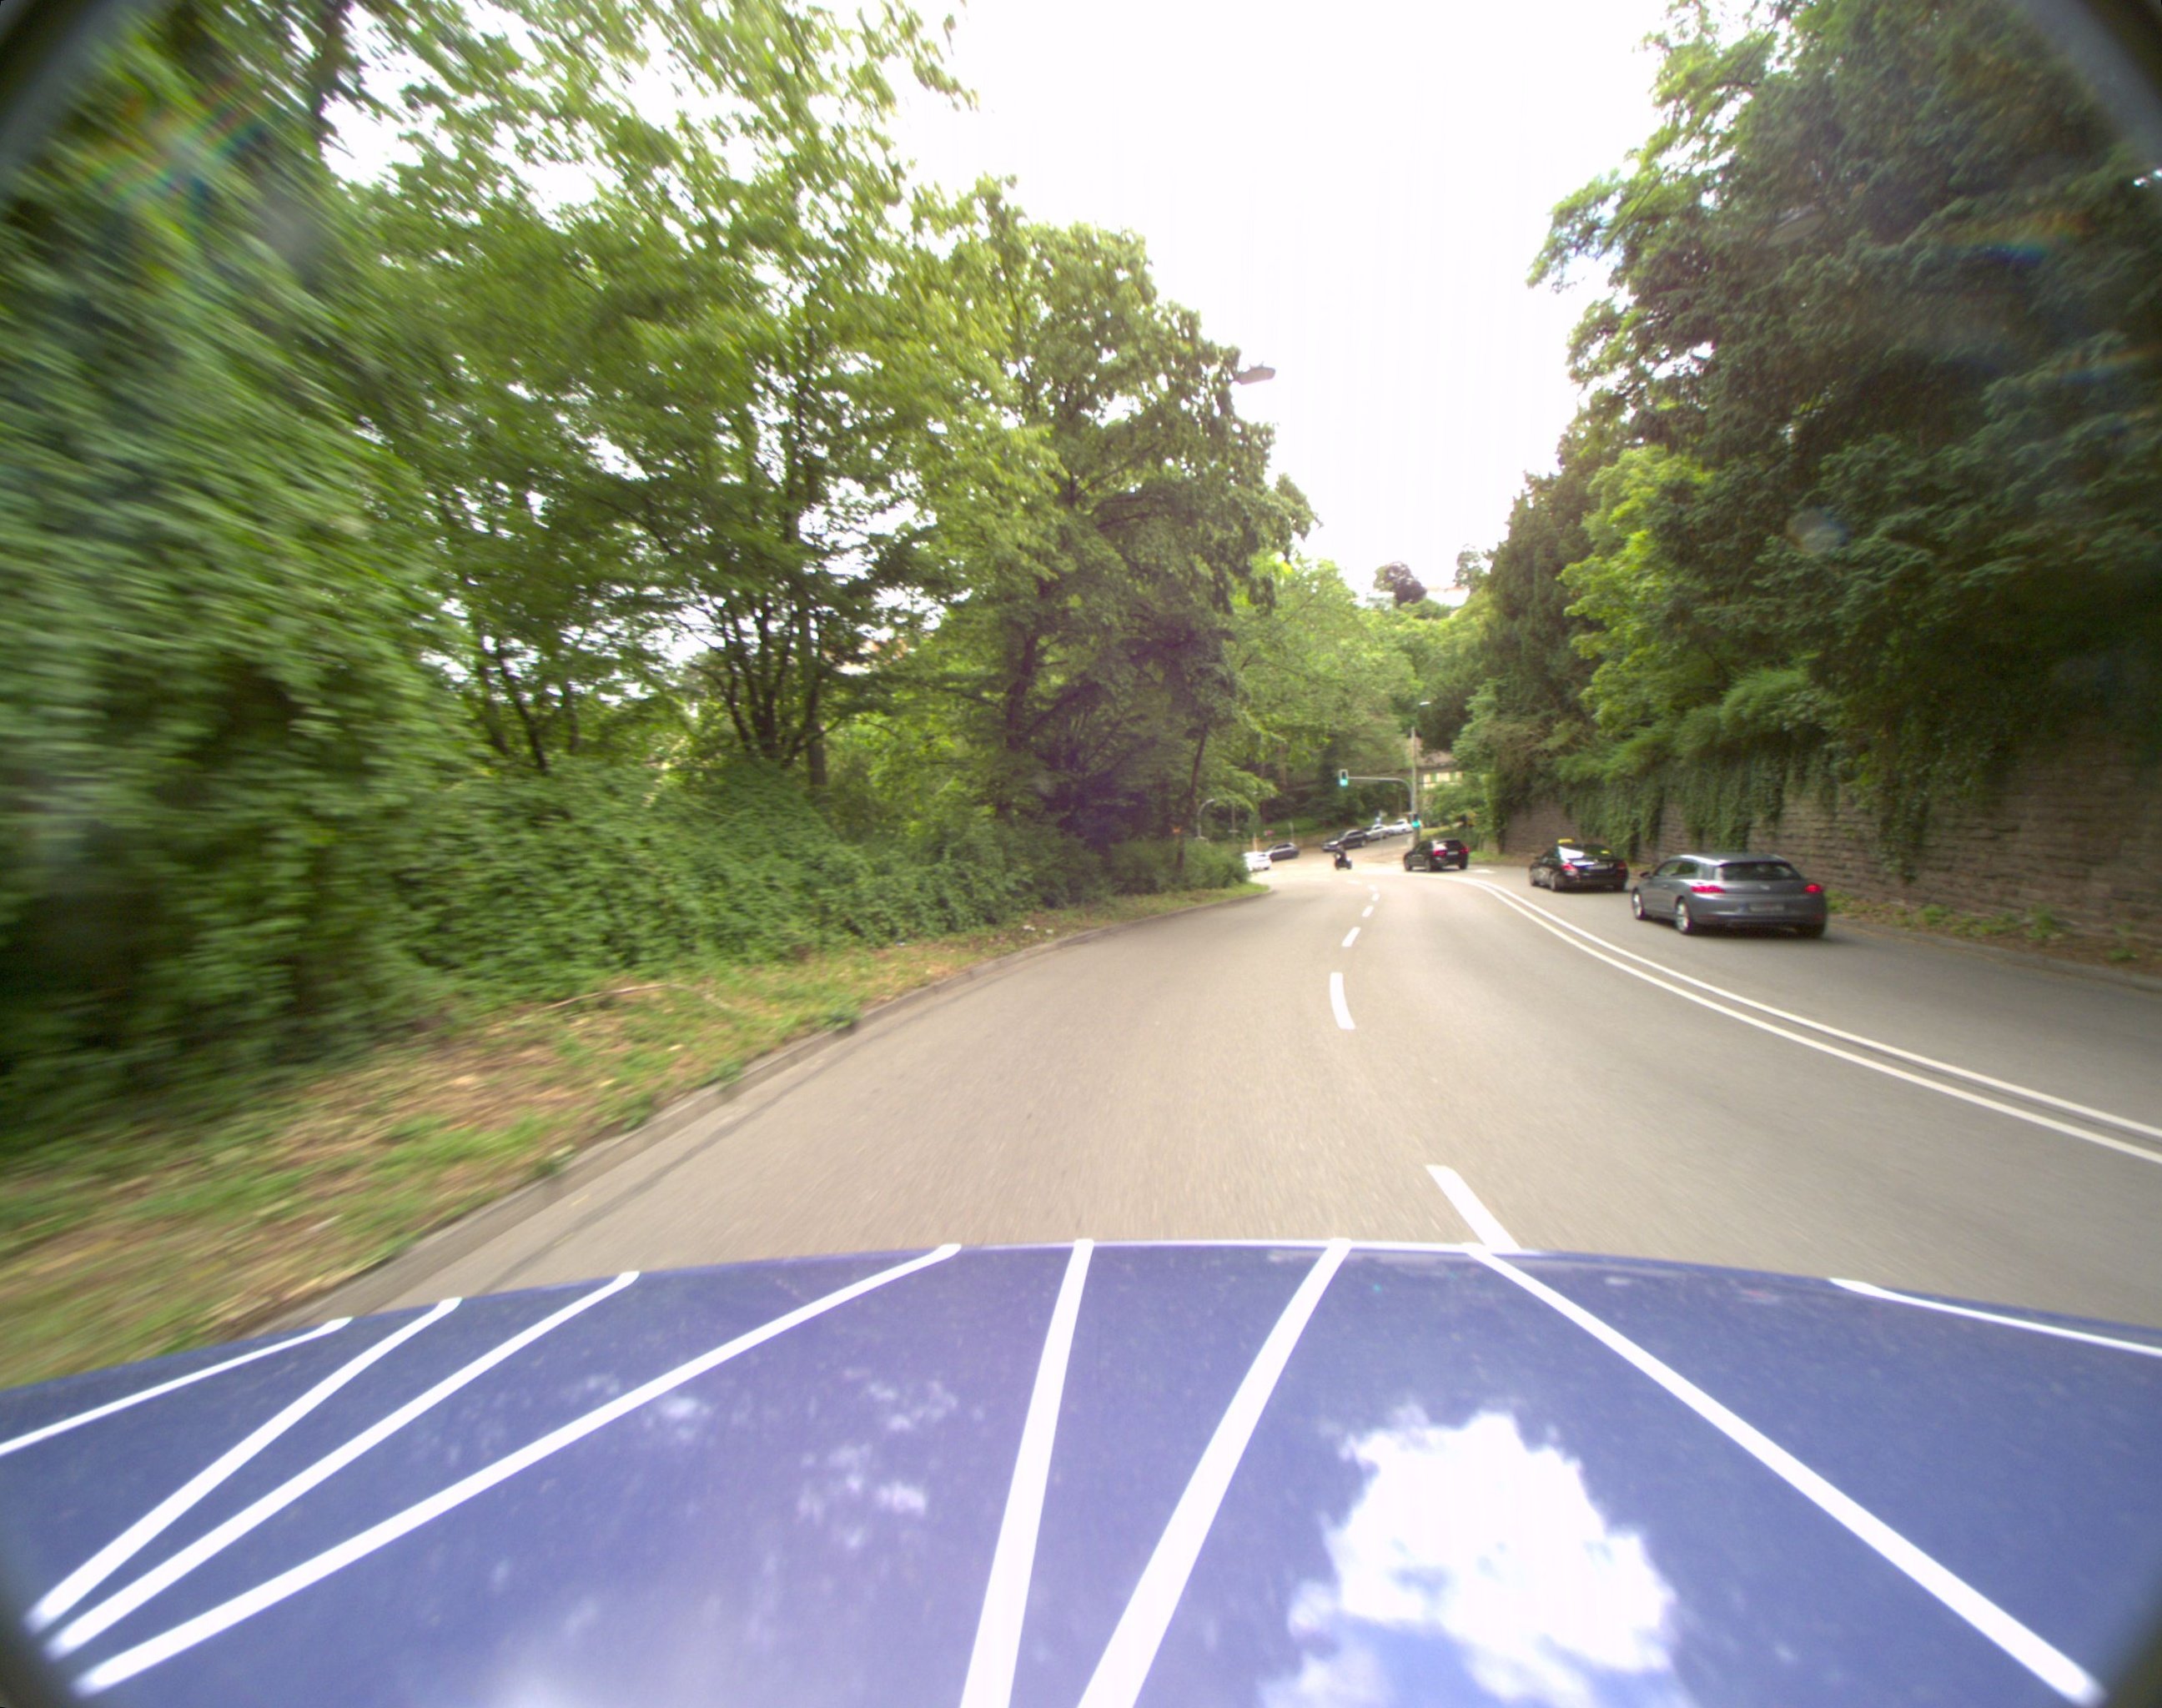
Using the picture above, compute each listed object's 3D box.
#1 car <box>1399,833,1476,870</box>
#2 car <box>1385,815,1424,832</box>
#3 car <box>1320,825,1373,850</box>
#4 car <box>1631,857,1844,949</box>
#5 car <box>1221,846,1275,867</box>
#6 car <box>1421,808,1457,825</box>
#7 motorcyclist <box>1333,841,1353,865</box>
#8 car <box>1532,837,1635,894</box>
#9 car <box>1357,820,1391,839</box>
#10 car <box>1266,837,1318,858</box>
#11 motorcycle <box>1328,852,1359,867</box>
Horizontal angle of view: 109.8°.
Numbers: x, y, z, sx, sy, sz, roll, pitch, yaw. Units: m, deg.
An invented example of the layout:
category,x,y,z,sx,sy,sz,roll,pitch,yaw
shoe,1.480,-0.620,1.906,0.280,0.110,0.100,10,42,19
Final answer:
category,x,y,z,sx,sy,sz,roll,pitch,yaw
car,18.417,-0.129,39.492,1.854,1.639,4.511,-6,0,1
car,33.534,-3.162,78.797,4.027,1.323,1.624,-10,7,-32
car,24.367,-1.549,69.705,4.547,1.675,1.804,-9,4,-28
car,11.524,0.748,13.682,1.772,1.331,3.966,0,1,23
car,13.345,0.210,60.974,1.754,1.408,4.320,-5,1,-29
car,38.628,-4.011,82.040,3.916,1.323,1.598,-10,6,-32
motorcyclist,17.209,-0.058,49.961,0.749,1.521,1.093,-3,2,-12
car,15.611,0.286,23.858,1.864,1.588,4.637,-2,1,23
car,29.311,-2.492,75.935,3.268,1.440,1.502,-11,7,-33
car,18.790,-0.591,67.620,4.000,1.351,1.751,-8,3,-13
motorcycle,17.235,0.368,49.937,0.811,0.884,2.426,-3,1,-12
